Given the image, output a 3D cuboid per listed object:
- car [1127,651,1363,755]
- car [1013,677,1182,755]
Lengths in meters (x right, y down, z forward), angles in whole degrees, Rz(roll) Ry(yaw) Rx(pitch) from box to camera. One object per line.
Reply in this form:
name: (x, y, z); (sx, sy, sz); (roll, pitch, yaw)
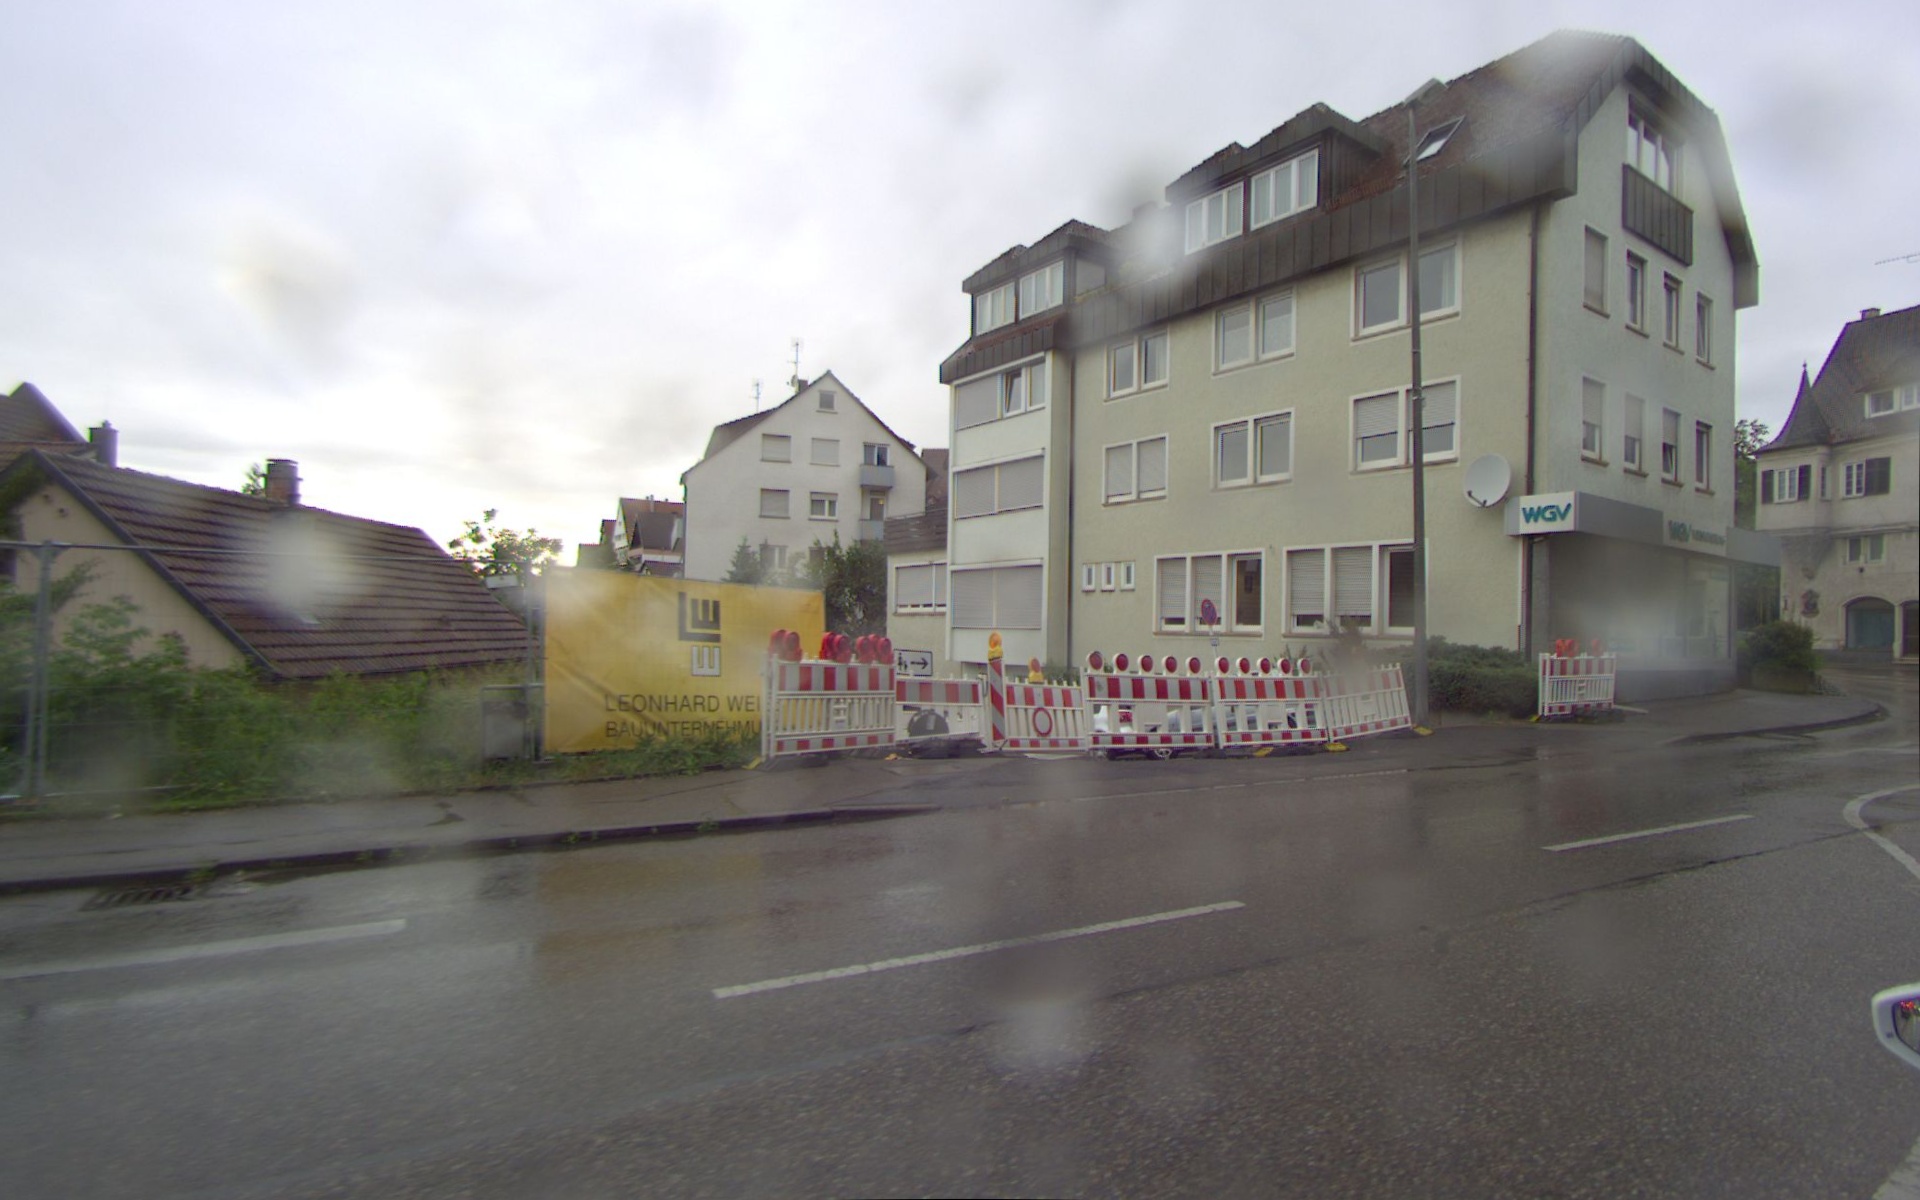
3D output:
car: (4.768, 1.795, 17.171); (1.637, 1.407, 3.476); (-1, -8, -38)
car: (2.809, 2.467, 21.146); (1.485, 1.327, 3.427); (-1, -8, -36)
